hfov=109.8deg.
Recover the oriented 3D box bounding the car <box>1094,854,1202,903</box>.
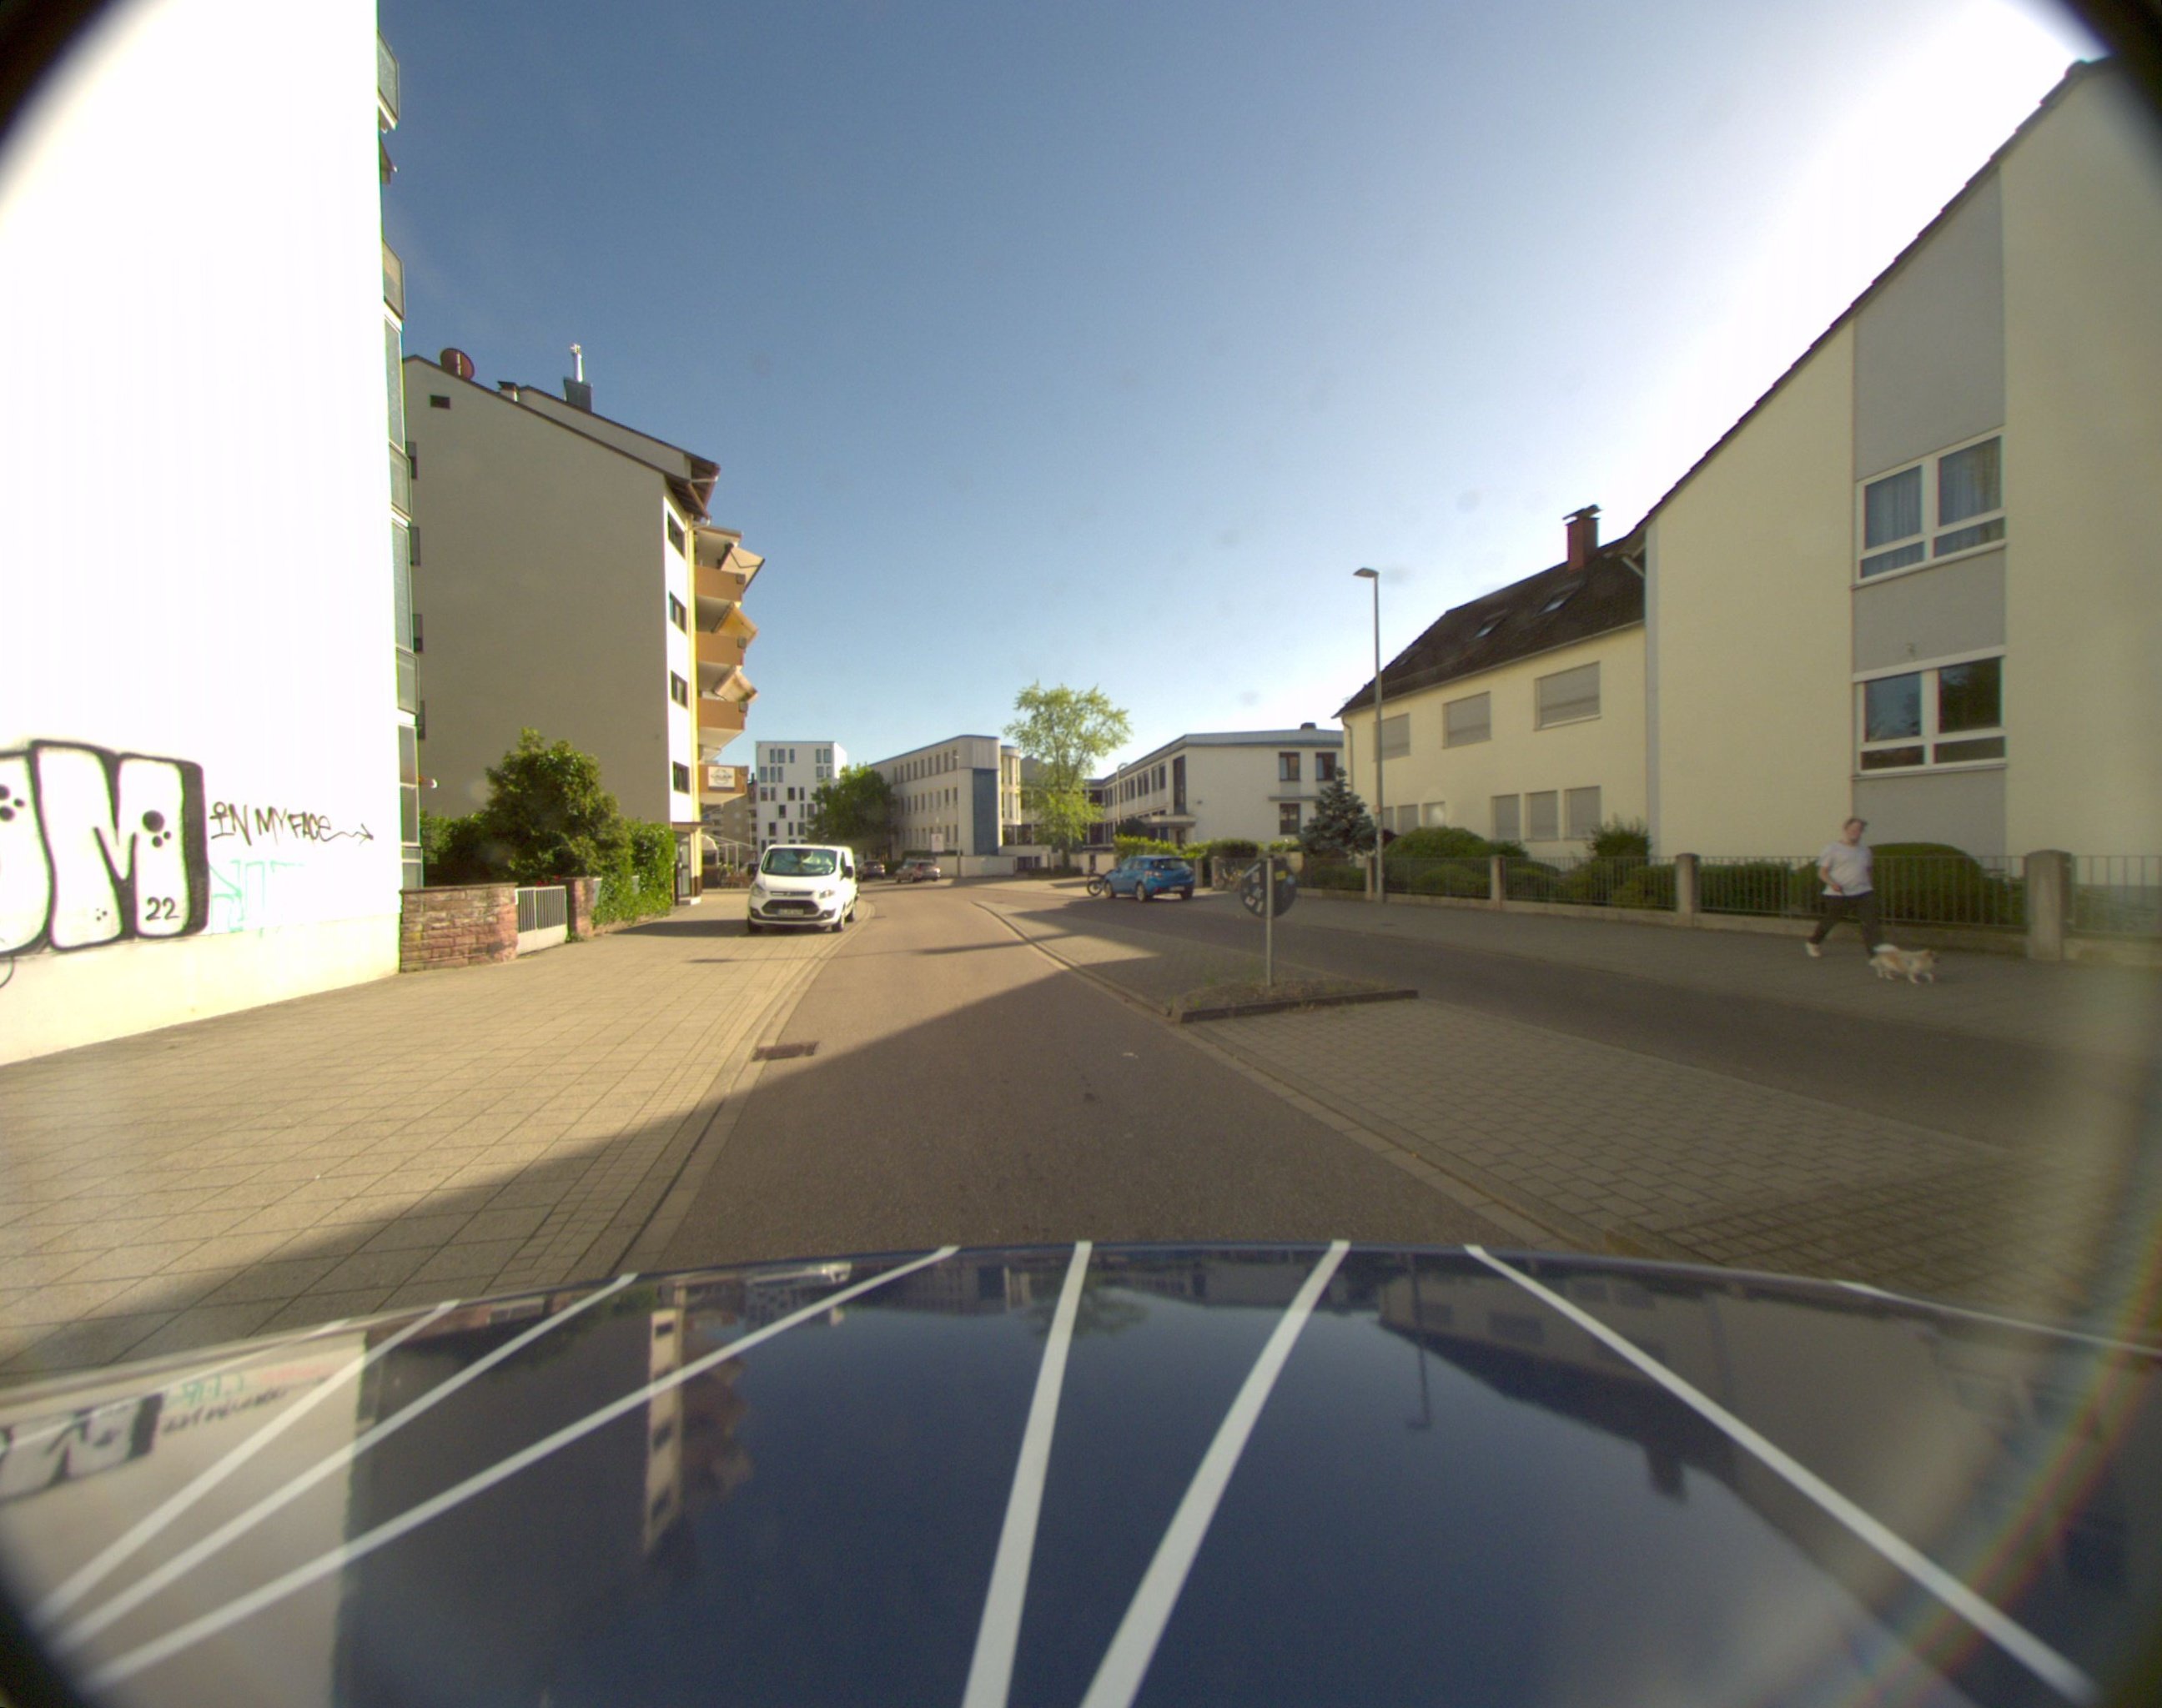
[{"bbox_3d":[2.134,0.773,25.530,1.887,1.426,4.407,-3,0,-20],"label":"car"}]

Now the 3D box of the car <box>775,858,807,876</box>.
[{"bbox_3d":[-31.167,1.412,81.614,2.142,1.800,4.823,-3,1,-34],"label":"car"}]

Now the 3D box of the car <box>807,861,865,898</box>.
[{"bbox_3d":[-10.222,1.039,31.545,1.761,1.386,3.992,3,-1,-25],"label":"car"}]

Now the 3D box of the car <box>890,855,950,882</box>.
[{"bbox_3d":[-10.961,0.955,51.609,2.143,1.604,4.823,-3,1,-36],"label":"car"}]

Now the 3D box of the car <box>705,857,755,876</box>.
[{"bbox_3d":[-37.077,1.286,80.351,2.135,1.726,4.840,-2,1,15],"label":"car"}]

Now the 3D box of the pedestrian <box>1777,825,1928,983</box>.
[{"bbox_3d":[8.875,0.536,8.783,0.692,1.696,0.996,-2,1,-12],"label":"pedestrian"}]

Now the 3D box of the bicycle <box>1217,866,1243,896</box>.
[{"bbox_3d":[5.305,0.941,27.096,0.346,1.009,1.261,-1,0,-19],"label":"bicycle"}]

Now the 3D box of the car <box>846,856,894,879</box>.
[{"bbox_3d":[-16.682,1.047,59.861,2.142,1.604,4.823,-3,1,-34],"label":"car"}]

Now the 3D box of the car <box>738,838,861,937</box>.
[{"bbox_3d":[-6.481,0.728,18.052,2.001,2.001,4.792,2,-1,-12],"label":"car"}]

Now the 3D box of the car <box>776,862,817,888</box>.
[{"bbox_3d":[-17.316,1.260,46.166,1.762,1.445,3.991,3,-1,-29],"label":"car"}]

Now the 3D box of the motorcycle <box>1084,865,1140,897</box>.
[{"bbox_3d":[1.167,0.996,28.391,1.961,1.089,0.591,-3,0,9],"label":"motorcycle"}]
